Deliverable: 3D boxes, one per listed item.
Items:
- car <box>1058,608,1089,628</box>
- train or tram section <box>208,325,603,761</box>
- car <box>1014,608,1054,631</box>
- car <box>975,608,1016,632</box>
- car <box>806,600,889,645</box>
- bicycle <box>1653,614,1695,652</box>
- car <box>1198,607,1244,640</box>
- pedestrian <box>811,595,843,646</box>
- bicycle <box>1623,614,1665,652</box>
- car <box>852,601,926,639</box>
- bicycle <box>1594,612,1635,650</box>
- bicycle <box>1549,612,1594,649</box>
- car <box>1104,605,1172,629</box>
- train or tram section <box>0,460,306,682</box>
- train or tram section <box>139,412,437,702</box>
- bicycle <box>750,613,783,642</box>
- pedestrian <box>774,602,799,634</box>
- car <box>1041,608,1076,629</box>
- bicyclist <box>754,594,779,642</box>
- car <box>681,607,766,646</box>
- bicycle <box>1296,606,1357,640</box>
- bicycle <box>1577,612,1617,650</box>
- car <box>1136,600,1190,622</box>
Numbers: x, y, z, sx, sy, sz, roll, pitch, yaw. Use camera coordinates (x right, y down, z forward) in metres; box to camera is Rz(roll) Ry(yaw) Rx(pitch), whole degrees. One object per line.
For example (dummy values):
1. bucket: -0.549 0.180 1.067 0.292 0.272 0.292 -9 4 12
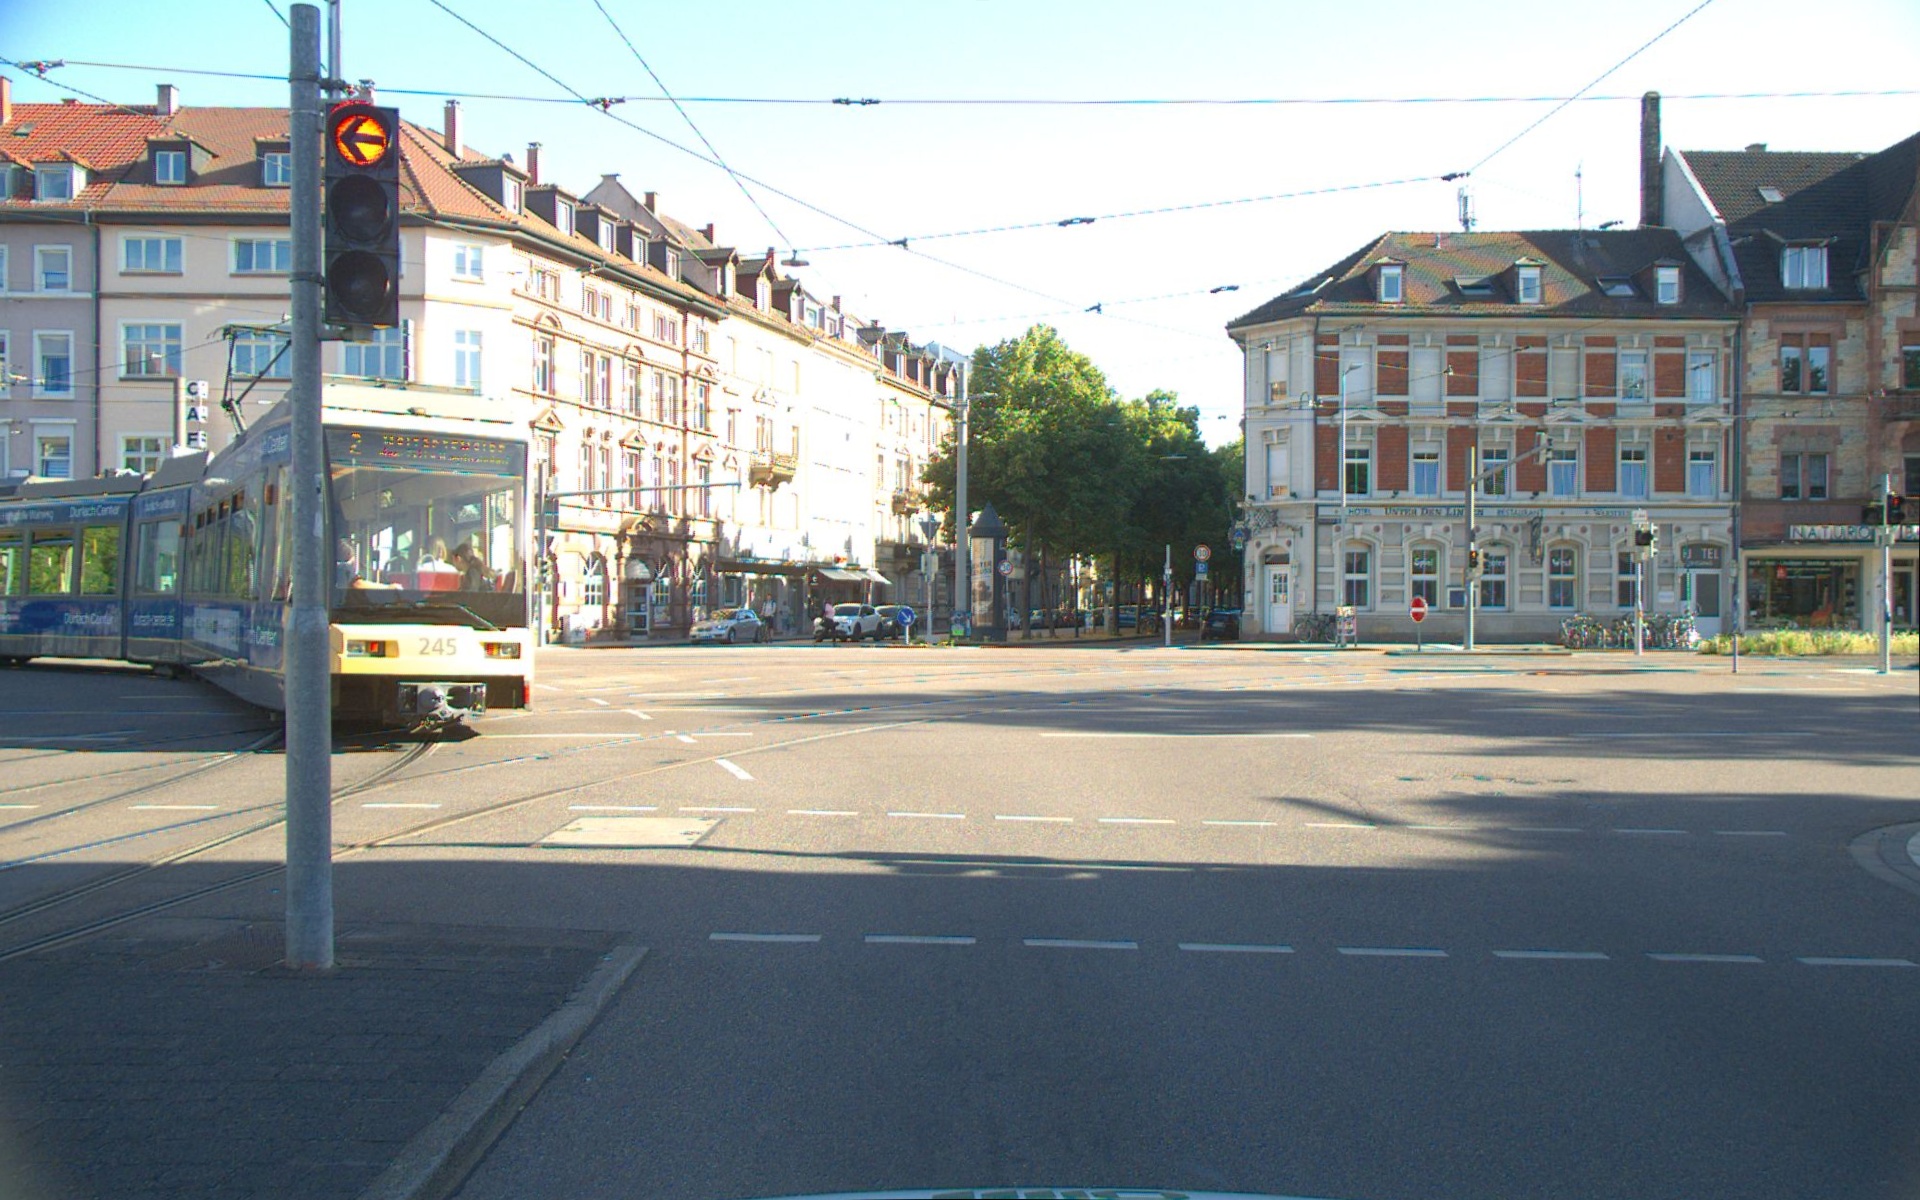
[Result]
1. car: 9.395 1.457 136.462 1.727 1.576 4.394 0 0 16
2. train or tram section: -6.263 -0.493 17.692 2.783 3.561 7.889 0 0 -28
3. car: 5.529 1.421 122.737 1.951 1.640 4.393 0 0 17
4. car: 2.415 1.322 110.989 1.951 1.512 4.003 0 0 13
5. car: -4.539 0.883 67.252 1.951 1.713 4.393 0 0 17
6. bicycle: 23.040 1.055 53.397 0.596 1.156 2.136 0 0 4
7. car: 13.073 1.156 82.632 1.951 1.613 4.003 0 0 13
8. pedestrian: -4.654 0.699 57.734 1.027 1.774 0.806 0 0 -11
9. bicycle: 22.076 1.052 53.449 0.605 1.163 2.175 0 0 4
10. car: -3.145 0.860 73.787 1.951 1.640 4.393 0 0 17
11. bicycle: 21.168 0.990 53.508 0.605 1.163 2.175 0 0 4
12. bicycle: 19.825 0.985 53.657 0.789 1.163 2.175 0 0 4
13. car: 12.460 1.192 115.617 4.290 1.640 1.998 0 0 26
14. train or tram section: -16.937 -0.494 31.154 11.789 3.561 2.769 0 0 36
15. train or tram section: -10.261 -0.552 24.639 2.787 3.561 8.369 0 0 -32
16. bicycle: -7.593 1.080 64.888 0.665 1.085 2.127 0 0 12
17. pedestrian: -8.572 0.901 81.759 0.908 1.562 1.138 0 0 13
18. car: 7.782 1.418 130.561 1.798 1.579 4.393 0 0 16
19. bicyclist: -7.582 0.693 64.930 0.664 1.852 1.071 0 0 12
20. car: -9.523 1.035 66.898 1.858 1.481 4.002 0 0 17
21. bicycle: 12.754 0.816 57.581 2.045 1.144 0.366 1 -1 -5
22. bicycle: 20.596 0.995 53.538 0.605 1.163 2.175 0 0 4
23. car: 16.421 0.879 133.871 3.912 1.736 1.996 0 0 30
